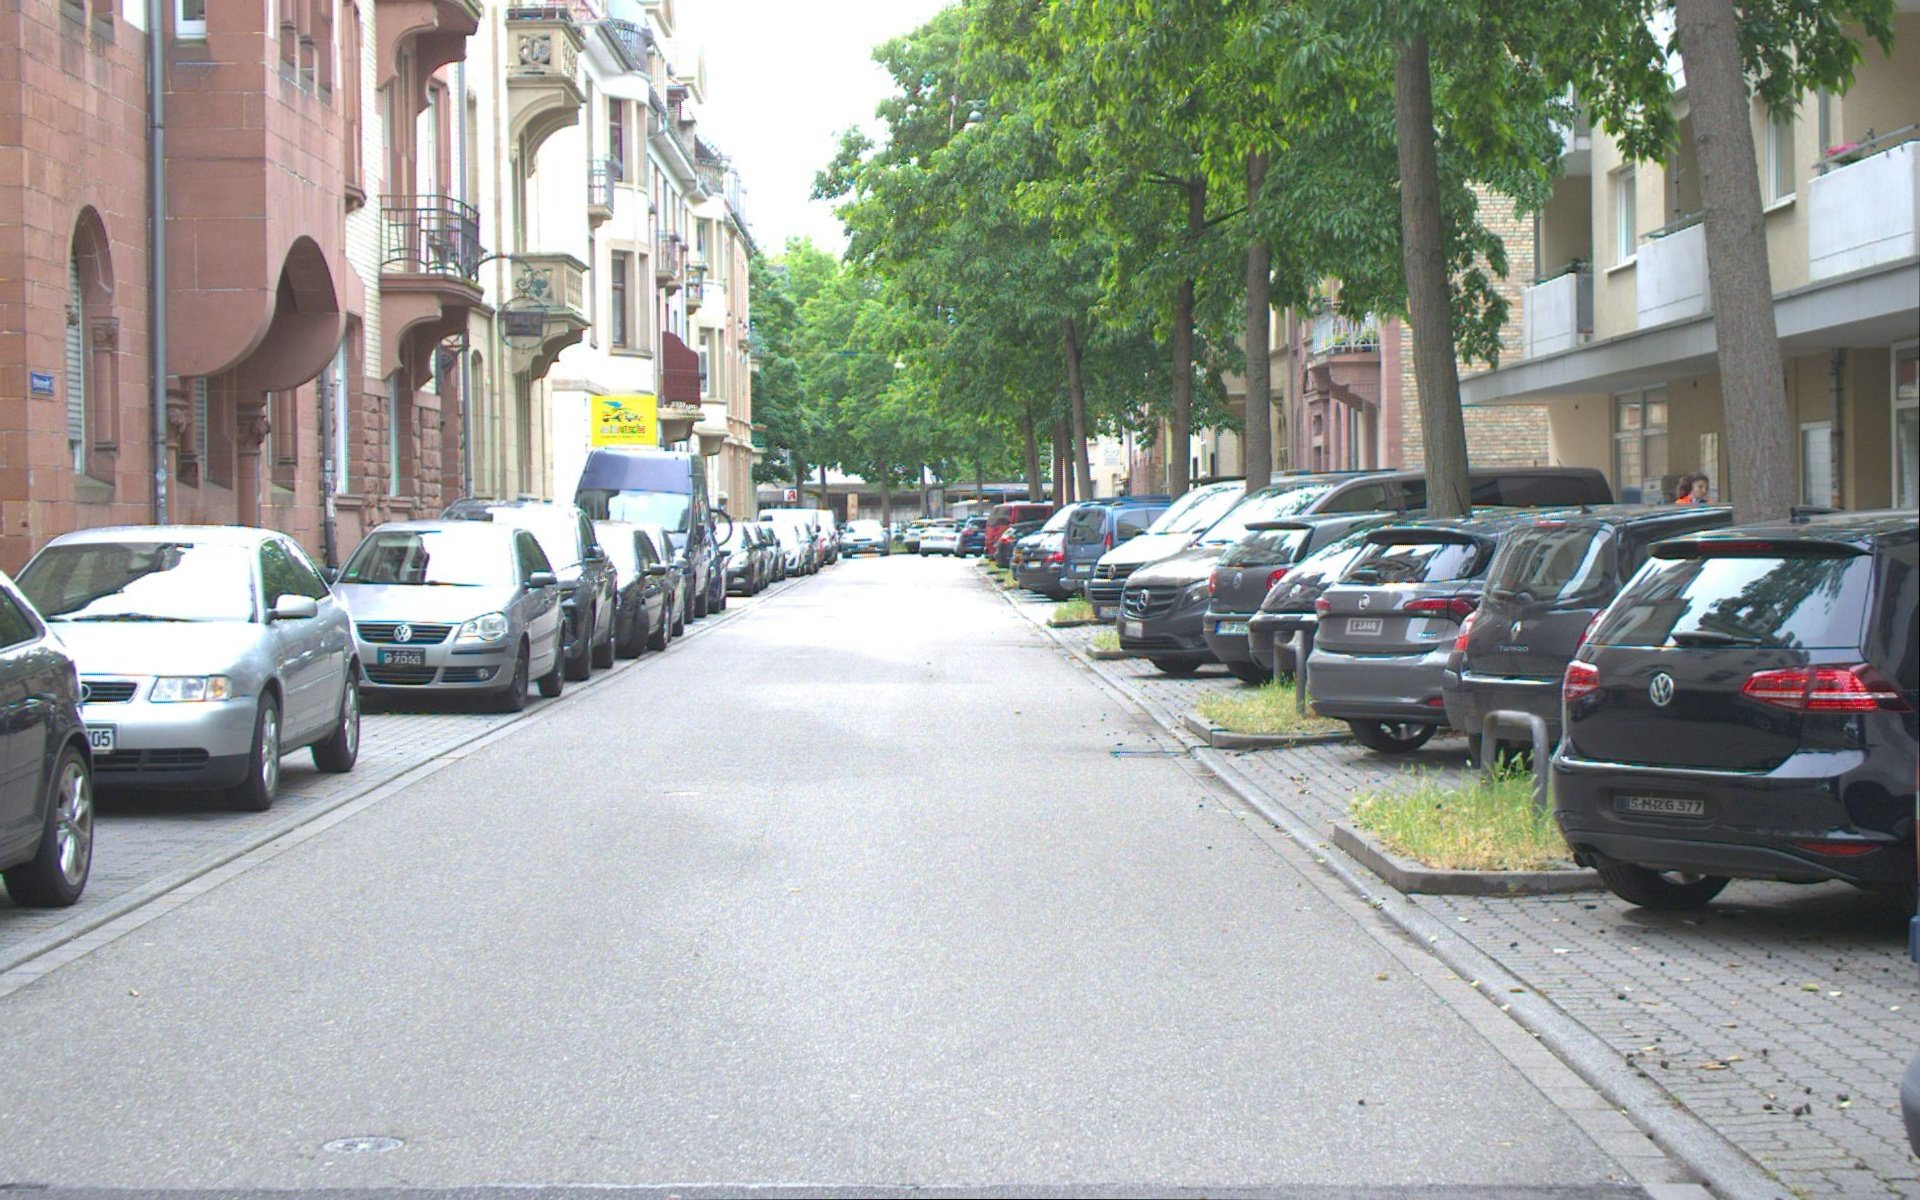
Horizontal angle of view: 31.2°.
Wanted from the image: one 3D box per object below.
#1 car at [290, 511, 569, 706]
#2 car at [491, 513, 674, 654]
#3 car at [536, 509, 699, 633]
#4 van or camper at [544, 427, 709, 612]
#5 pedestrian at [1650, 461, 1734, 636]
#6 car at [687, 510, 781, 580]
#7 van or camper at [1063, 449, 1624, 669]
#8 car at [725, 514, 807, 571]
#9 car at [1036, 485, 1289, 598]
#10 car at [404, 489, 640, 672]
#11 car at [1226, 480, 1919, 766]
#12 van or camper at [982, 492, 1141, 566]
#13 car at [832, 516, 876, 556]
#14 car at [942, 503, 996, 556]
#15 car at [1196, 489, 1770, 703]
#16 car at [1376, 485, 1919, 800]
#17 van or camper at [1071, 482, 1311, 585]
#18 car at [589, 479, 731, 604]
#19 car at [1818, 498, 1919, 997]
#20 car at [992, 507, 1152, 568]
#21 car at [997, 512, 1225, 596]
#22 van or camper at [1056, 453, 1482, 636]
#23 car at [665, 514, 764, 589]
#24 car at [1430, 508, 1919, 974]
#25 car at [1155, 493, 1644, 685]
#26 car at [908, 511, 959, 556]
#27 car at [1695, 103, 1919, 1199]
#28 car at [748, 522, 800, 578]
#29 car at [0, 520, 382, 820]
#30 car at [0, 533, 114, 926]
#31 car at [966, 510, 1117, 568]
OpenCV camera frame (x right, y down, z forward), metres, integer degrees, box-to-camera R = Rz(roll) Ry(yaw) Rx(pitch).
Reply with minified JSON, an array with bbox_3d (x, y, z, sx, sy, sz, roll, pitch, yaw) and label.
[{"bbox_3d":[-4.162,0.013,27.475,1.662,1.416,3.929,1,2,-1],"label":"car"},{"bbox_3d":[-4.176,-0.224,38.513,1.634,1.468,4.000,1,1,0],"label":"car"},{"bbox_3d":[-4.259,-0.360,43.229,1.667,1.468,4.000,1,0,0],"label":"car"},{"bbox_3d":[-5.021,-1.235,52.407,2.008,2.642,5.316,-1,1,0],"label":"van or camper"},{"bbox_3d":[7.411,-0.526,34.823,0.624,1.736,0.849,-2,1,0],"label":"pedestrian"},{"bbox_3d":[-4.900,-1.216,74.958,1.829,1.421,3.802,2,1,-1],"label":"car"},{"bbox_3d":[3.736,-0.426,33.286,5.005,1.863,2.127,-3,1,-28],"label":"van or camper"},{"bbox_3d":[-5.200,-1.565,92.738,1.993,1.470,4.000,-1,1,-1],"label":"car"},{"bbox_3d":[3.756,-1.084,63.544,4.172,1.863,2.000,-3,1,-30],"label":"car"},{"bbox_3d":[-4.196,-0.239,33.545,1.786,1.641,4.362,1,2,-1],"label":"car"},{"bbox_3d":[4.004,0.094,21.437,4.213,1.495,1.976,-3,1,-28],"label":"car"},{"bbox_3d":[2.945,-2.068,99.710,4.146,2.078,1.953,-2,2,-28],"label":"van or camper"},{"bbox_3d":[-4.545,-2.755,148.070,1.821,1.639,3.754,1,0,-1],"label":"car"},{"bbox_3d":[0.353,-2.805,136.804,1.993,2.007,4.000,2,1,-1],"label":"car"},{"bbox_3d":[4.117,-0.063,27.045,4.039,1.478,1.948,-2,1,-26],"label":"car"},{"bbox_3d":[4.205,0.170,18.572,3.359,1.491,1.852,-3,1,-23],"label":"car"},{"bbox_3d":[4.952,-1.423,73.591,4.775,2.130,2.056,0,2,-31],"label":"van or camper"},{"bbox_3d":[-5.027,-1.011,58.179,1.993,2.007,4.891,-1,1,0],"label":"car"},{"bbox_3d":[4.748,0.376,10.532,3.901,1.460,1.825,-2,1,-29],"label":"car"},{"bbox_3d":[2.785,-1.564,85.899,3.760,1.460,1.729,-1,1,-6],"label":"car"},{"bbox_3d":[2.929,-0.913,66.375,4.010,1.554,1.885,-1,1,-31],"label":"car"},{"bbox_3d":[3.780,-0.680,41.936,4.729,1.987,2.000,-3,0,-26],"label":"van or camper"},{"bbox_3d":[-4.959,-1.004,69.828,1.789,1.475,4.023,0,1,-1],"label":"car"},{"bbox_3d":[3.831,0.377,12.746,4.102,1.437,1.852,-2,2,-40],"label":"car"},{"bbox_3d":[3.876,-0.123,30.257,3.849,1.497,1.913,-3,1,-30],"label":"car"},{"bbox_3d":[-1.112,-2.761,142.647,1.993,1.788,4.000,1,0,-2],"label":"car"},{"bbox_3d":[3.796,0.119,6.846,4.693,2.188,2.066,-5,3,-40],"label":"car"},{"bbox_3d":[-4.576,-1.248,84.801,1.135,1.305,3.261,-2,1,-1],"label":"car"},{"bbox_3d":[-4.298,0.289,18.487,1.726,1.382,4.137,1,2,-1],"label":"car"},{"bbox_3d":[-4.219,0.444,11.693,1.726,1.382,3.929,1,0,0],"label":"car"},{"bbox_3d":[2.133,-1.614,90.427,3.760,1.460,1.729,-1,1,-6],"label":"car"}]
